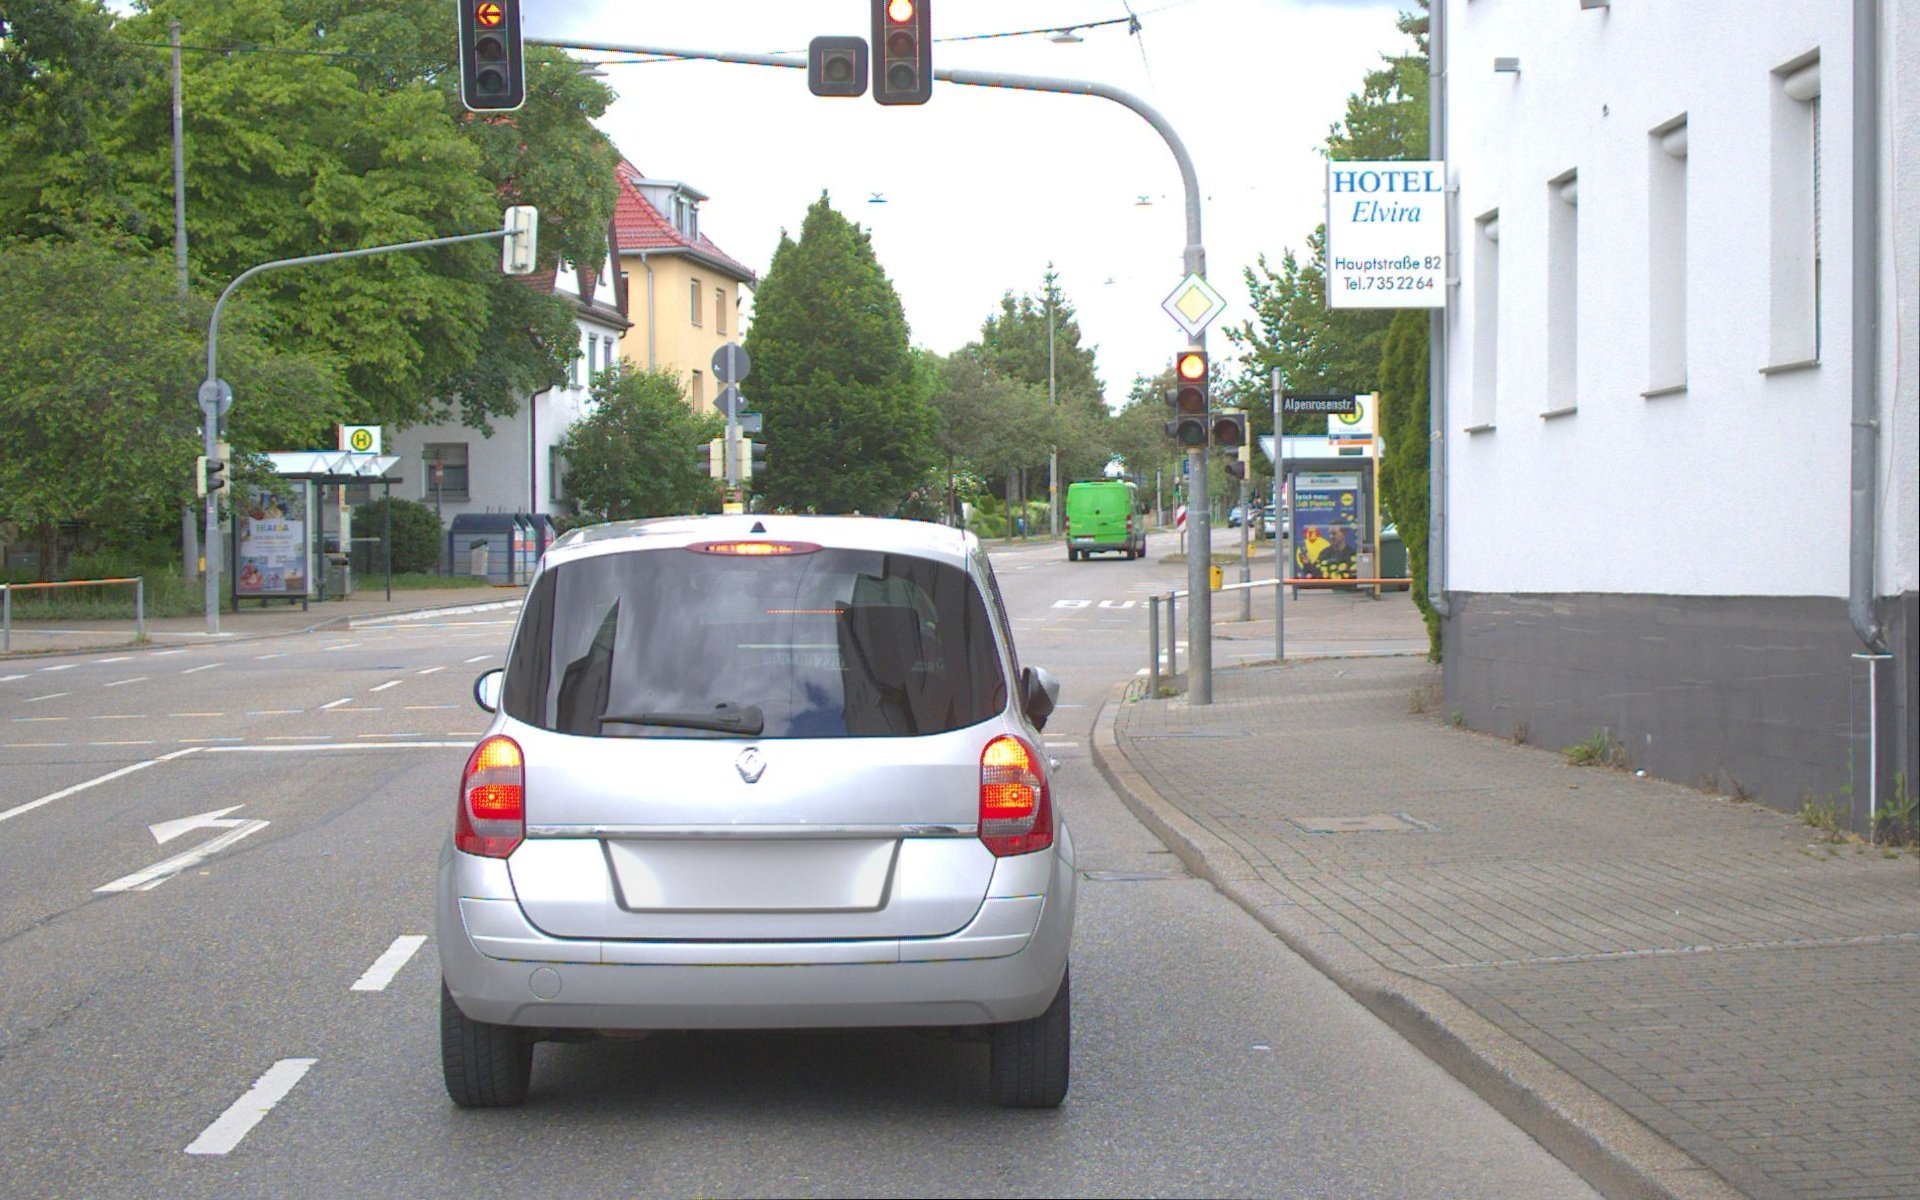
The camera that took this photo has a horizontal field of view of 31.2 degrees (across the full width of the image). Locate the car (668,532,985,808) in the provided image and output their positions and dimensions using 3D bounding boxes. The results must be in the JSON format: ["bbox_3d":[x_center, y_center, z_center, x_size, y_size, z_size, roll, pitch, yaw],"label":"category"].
[{"bbox_3d":[-0.812,0.366,21.120,1.755,1.525,3.797,1,1,-2],"label":"car"}]

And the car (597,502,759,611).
[{"bbox_3d":[-5.009,-0.803,61.610,1.927,1.767,3.999,-4,1,9],"label":"car"}]

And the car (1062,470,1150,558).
[{"bbox_3d":[4.387,-2.532,102.478,2.060,2.503,5.594,1,1,8],"label":"car"}]

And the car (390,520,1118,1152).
[{"bbox_3d":[-0.572,0.551,10.385,1.755,1.525,4.000,1,1,-2],"label":"car"}]
